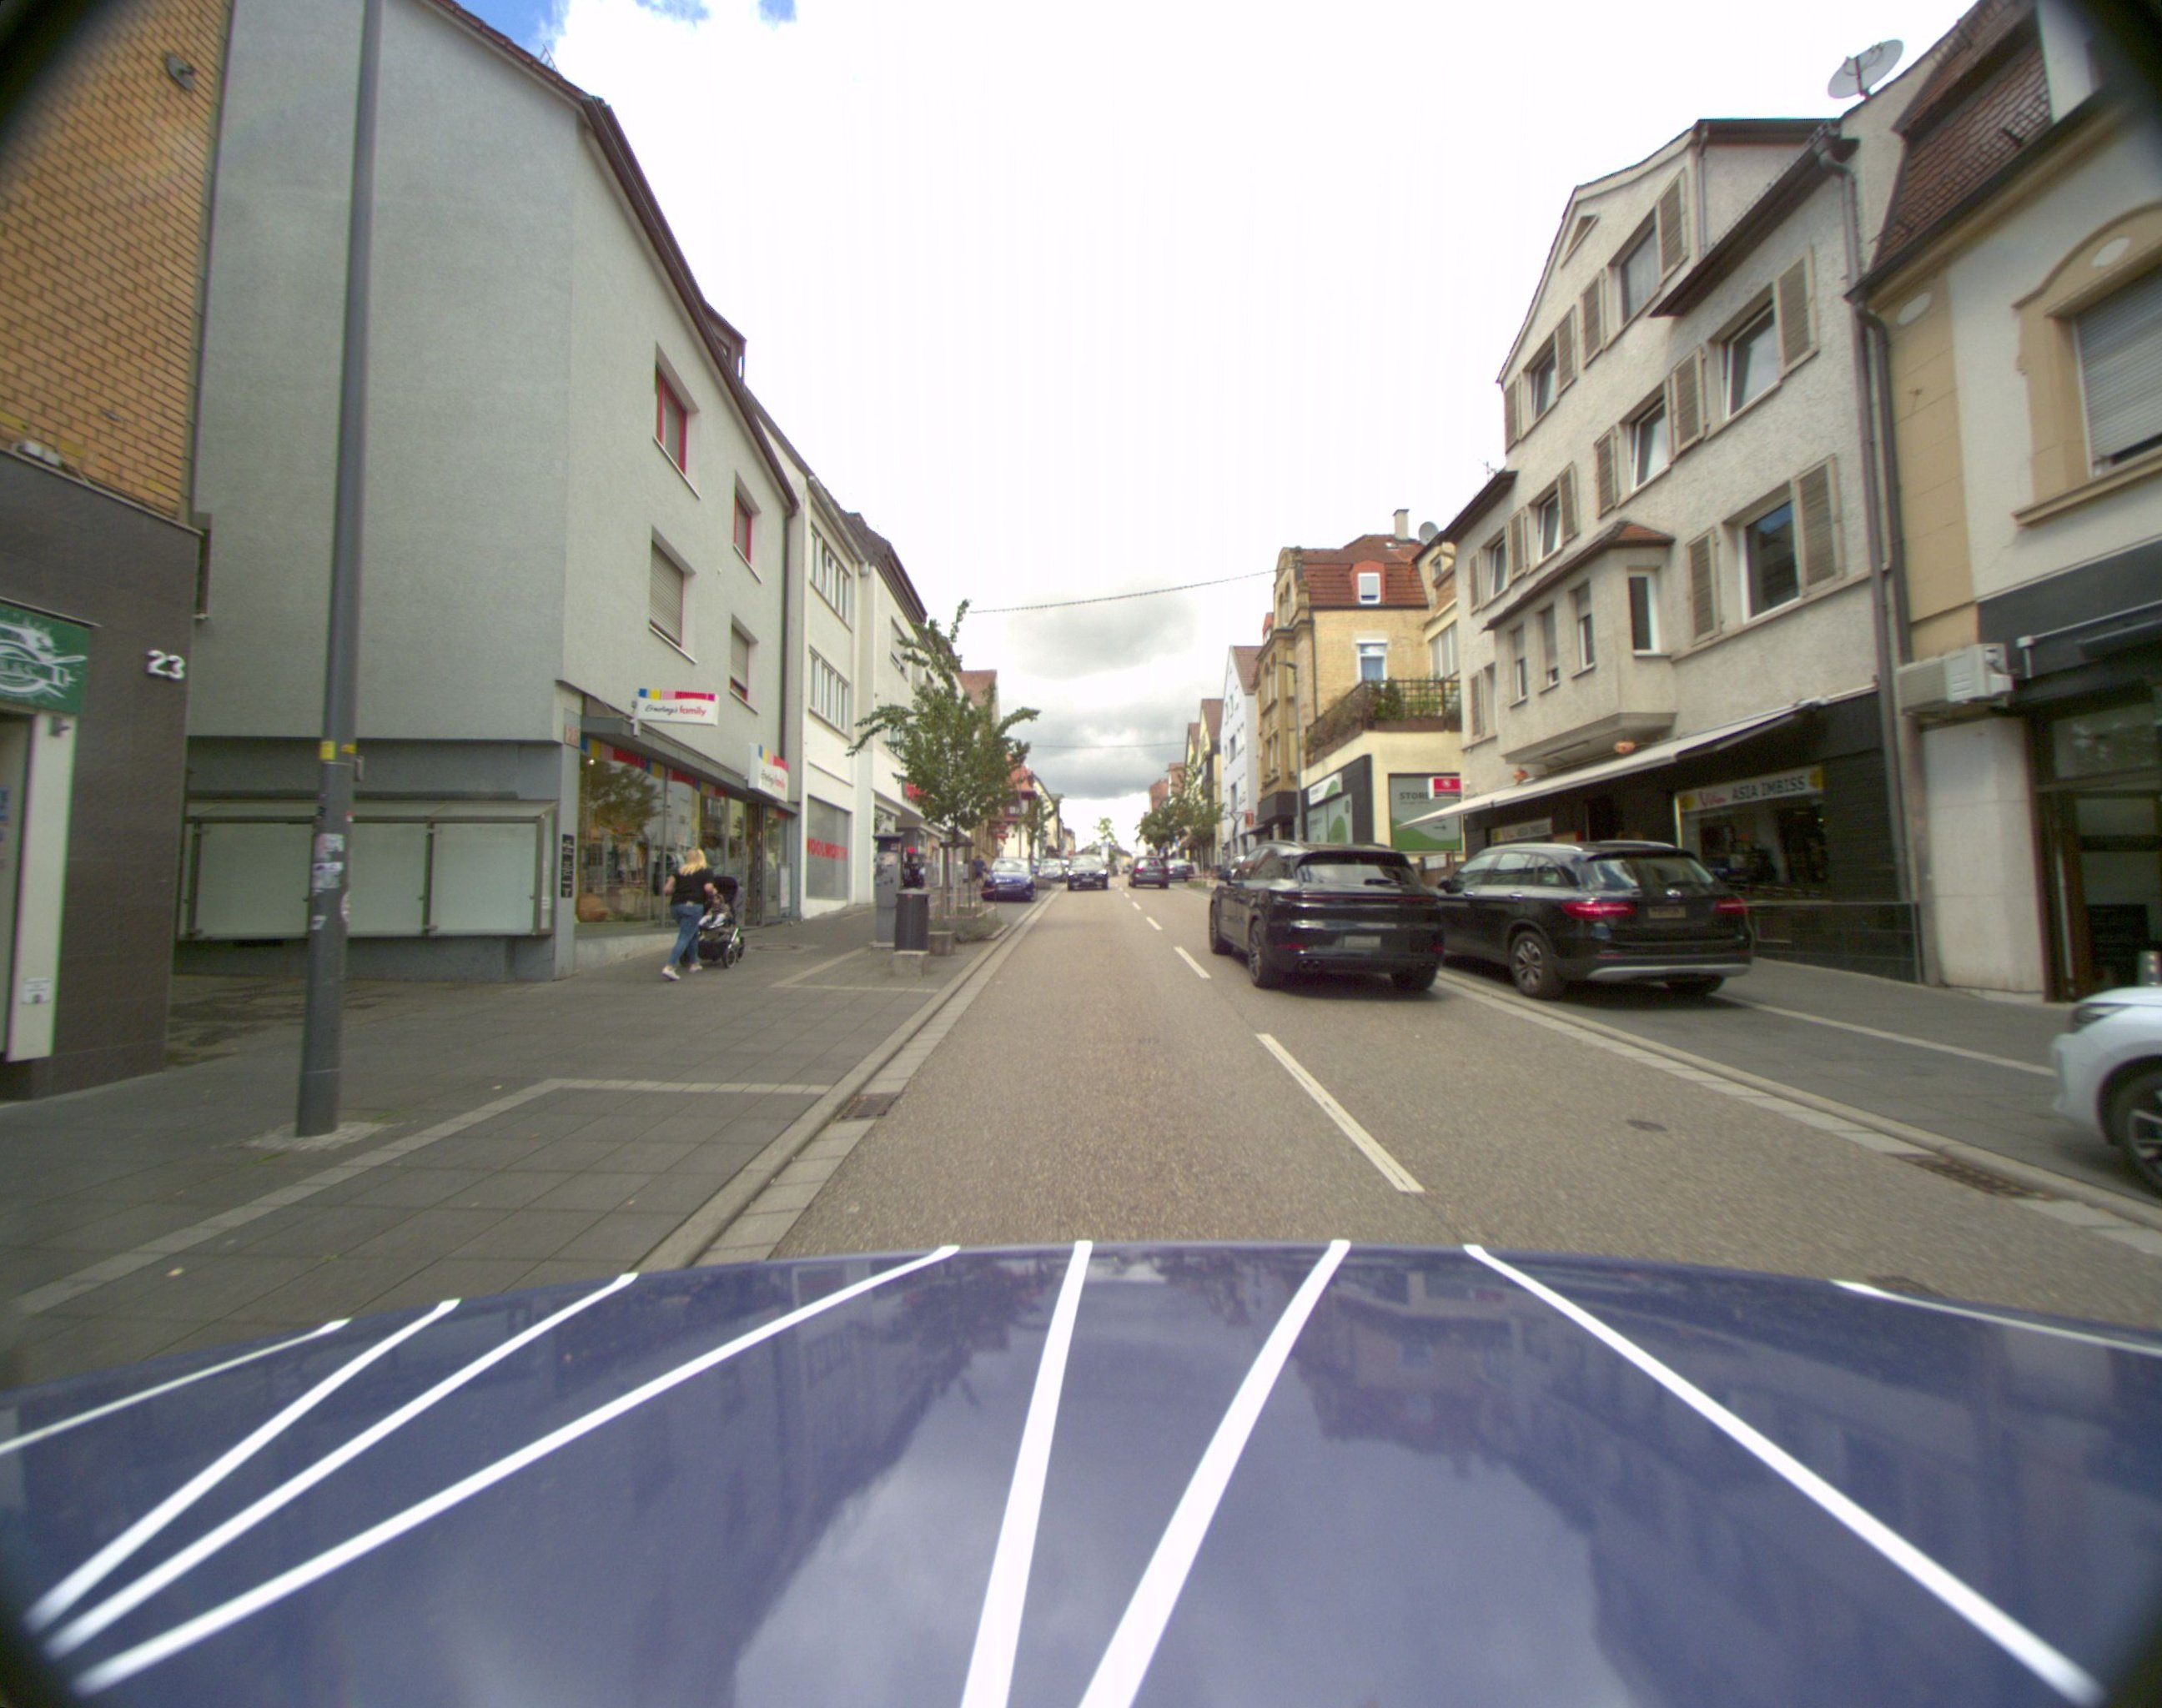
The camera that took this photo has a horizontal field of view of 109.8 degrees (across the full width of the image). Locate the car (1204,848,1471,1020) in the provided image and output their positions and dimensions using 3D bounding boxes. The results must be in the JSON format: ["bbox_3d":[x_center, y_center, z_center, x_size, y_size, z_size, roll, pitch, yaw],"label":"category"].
[{"bbox_3d":[2.925,0.801,9.827,1.997,1.708,4.447,1,0,1],"label":"car"}]

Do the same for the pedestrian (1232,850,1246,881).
[{"bbox_3d":[8.836,0.648,42.533,0.588,1.703,0.710,-3,0,1],"label":"pedestrian"}]

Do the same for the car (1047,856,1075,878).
[{"bbox_3d":[-1.714,1.155,66.571,1.881,1.788,4.734,-1,-1,4],"label":"car"}]

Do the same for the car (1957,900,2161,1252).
[{"bbox_3d":[5.466,0.936,1.791,1.931,1.422,4.263,-2,0,2],"label":"car"}]

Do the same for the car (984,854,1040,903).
[{"bbox_3d":[-2.344,0.806,26.459,1.753,1.489,3.798,2,1,-4],"label":"car"}]

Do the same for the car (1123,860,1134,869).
[{"bbox_3d":[9.154,1.994,145.700,1.968,1.611,4.356,-2,0,3],"label":"car"}]

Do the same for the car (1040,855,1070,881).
[{"bbox_3d":[-1.681,0.903,50.147,1.752,1.598,3.801,1,-1,2],"label":"car"}]

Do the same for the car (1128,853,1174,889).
[{"bbox_3d":[3.348,0.782,37.062,1.823,1.608,4.135,1,0,0],"label":"car"}]

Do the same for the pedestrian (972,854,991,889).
[{"bbox_3d":[-4.421,0.767,33.689,0.758,1.551,0.817,0,0,-2],"label":"pedestrian"}]

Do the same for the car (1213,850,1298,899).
[{"bbox_3d":[6.059,0.701,26.858,1.931,1.502,4.262,-3,-1,0],"label":"car"}]

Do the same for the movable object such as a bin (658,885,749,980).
[{"bbox_3d":[-4.968,1.014,10.046,0.723,1.151,0.907,1,0,0],"label":"movable object such as a bin"}]

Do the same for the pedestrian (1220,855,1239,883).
[{"bbox_3d":[8.056,0.806,41.191,0.828,1.455,0.810,-3,0,0],"label":"pedestrian"}]

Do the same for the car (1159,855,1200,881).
[{"bbox_3d":[6.317,0.911,49.055,1.931,1.483,4.843,-3,-1,0],"label":"car"}]

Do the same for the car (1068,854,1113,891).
[{"bbox_3d":[0.406,0.798,34.909,1.914,1.559,4.372,-1,0,0],"label":"car"}]

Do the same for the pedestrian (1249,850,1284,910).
[{"bbox_3d":[5.293,0.733,21.666,0.739,1.662,0.863,-1,0,-2],"label":"pedestrian"}]

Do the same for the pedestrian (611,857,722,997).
[{"bbox_3d":[-4.939,0.831,9.116,0.737,1.575,1.000,2,0,0],"label":"pedestrian"}]

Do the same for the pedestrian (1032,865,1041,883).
[{"bbox_3d":[-4.138,1.845,70.713,0.798,1.717,1.053,0,0,1],"label":"pedestrian"}]

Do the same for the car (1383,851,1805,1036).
[{"bbox_3d":[5.594,0.811,9.230,1.931,1.612,4.639,-2,0,0],"label":"car"}]
